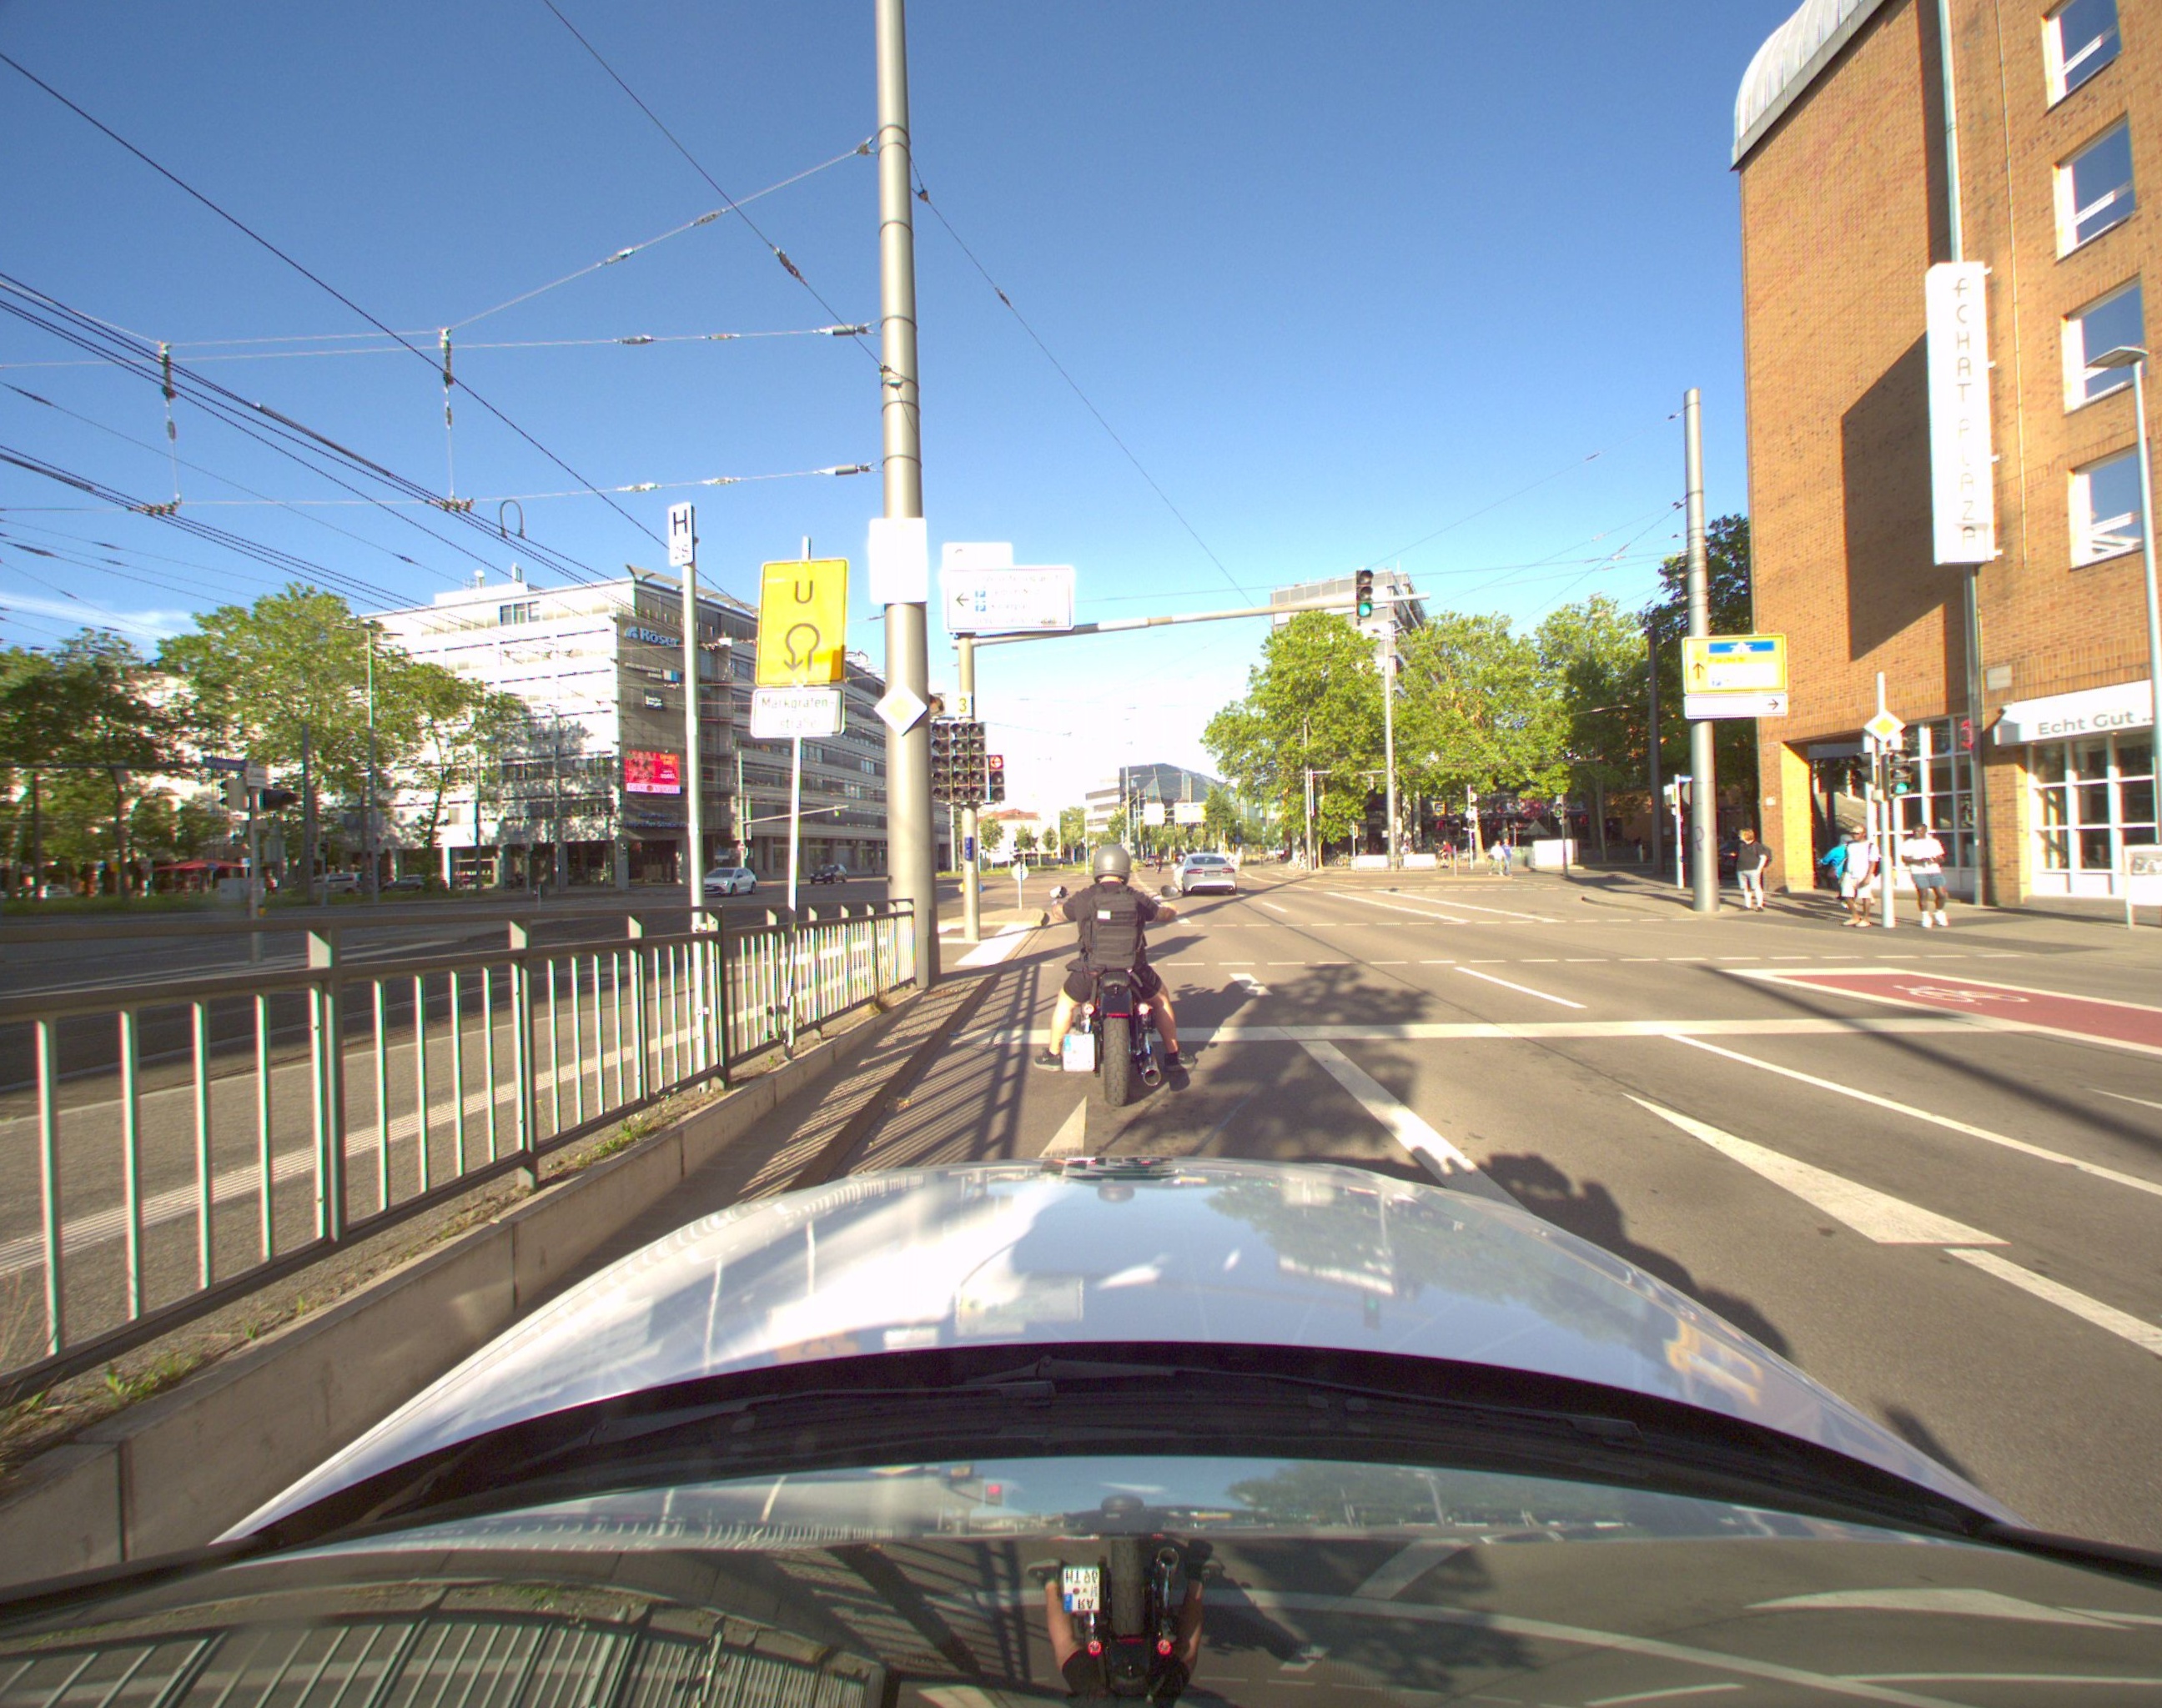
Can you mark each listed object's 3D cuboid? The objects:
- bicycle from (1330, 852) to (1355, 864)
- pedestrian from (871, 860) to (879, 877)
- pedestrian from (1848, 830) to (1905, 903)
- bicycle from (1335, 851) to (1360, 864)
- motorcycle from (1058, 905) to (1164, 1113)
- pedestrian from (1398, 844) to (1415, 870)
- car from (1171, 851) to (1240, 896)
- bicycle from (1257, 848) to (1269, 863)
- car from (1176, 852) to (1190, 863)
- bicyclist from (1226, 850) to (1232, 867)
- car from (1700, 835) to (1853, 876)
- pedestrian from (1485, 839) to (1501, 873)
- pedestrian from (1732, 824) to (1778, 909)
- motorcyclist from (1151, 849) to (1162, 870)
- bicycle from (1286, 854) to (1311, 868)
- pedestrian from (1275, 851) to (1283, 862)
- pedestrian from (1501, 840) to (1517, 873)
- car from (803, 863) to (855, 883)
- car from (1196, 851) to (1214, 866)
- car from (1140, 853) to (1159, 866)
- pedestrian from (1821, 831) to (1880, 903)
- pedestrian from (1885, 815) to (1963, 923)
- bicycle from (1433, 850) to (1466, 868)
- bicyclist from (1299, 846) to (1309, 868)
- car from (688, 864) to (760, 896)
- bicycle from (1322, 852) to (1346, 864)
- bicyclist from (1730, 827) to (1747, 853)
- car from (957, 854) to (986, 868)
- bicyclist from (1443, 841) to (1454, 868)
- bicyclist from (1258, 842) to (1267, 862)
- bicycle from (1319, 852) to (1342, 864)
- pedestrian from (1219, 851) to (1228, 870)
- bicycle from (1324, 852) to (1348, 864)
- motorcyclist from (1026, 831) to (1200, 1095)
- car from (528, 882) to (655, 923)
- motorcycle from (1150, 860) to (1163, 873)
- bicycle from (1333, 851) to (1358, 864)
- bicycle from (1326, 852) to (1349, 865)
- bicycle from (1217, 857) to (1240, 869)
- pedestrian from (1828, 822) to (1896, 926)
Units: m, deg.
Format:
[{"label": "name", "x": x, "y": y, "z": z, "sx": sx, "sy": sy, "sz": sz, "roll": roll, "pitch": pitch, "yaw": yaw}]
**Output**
[{"label": "bicycle", "x": 21.510, "y": 0.330, "z": 66.979, "sx": 1.874, "sy": 1.046, "sz": 0.360, "roll": 0, "pitch": -1, "yaw": 1}, {"label": "pedestrian", "x": -24.095, "y": 1.670, "z": 95.213, "sx": 0.628, "sy": 2.014, "sz": 0.754, "roll": 0, "pitch": -1, "yaw": 2}, {"label": "pedestrian", "x": 16.691, "y": 0.262, "z": 17.099, "sx": 0.590, "sy": 1.476, "sz": 0.552, "roll": -2, "pitch": -1, "yaw": 2}, {"label": "bicycle", "x": 21.365, "y": 0.285, "z": 65.383, "sx": 1.874, "sy": 1.046, "sz": 0.360, "roll": 0, "pitch": -1, "yaw": 1}, {"label": "motorcycle", "x": 0.206, "y": 0.948, "z": 5.730, "sx": 0.598, "sy": 1.036, "sz": 2.235, "roll": 0, "pitch": 0, "yaw": 2}, {"label": "pedestrian", "x": 21.378, "y": 0.206, "z": 53.524, "sx": 0.829, "sy": 1.704, "sz": 0.760, "roll": 0, "pitch": -1, "yaw": 2}, {"label": "car", "x": 4.370, "y": 0.635, "z": 29.105, "sx": 1.797, "sy": 1.430, "sz": 4.453, "roll": -2, "pitch": 0, "yaw": 1}, {"label": "bicycle", "x": 17.140, "y": 0.163, "z": 76.792, "sx": 0.722, "sy": 1.367, "sz": 2.922, "roll": 0, "pitch": -1, "yaw": 6}, {"label": "car", "x": 15.295, "y": 0.536, "z": 121.979, "sx": 1.791, "sy": 1.678, "sz": 4.054, "roll": 0, "pitch": -1, "yaw": 12}, {"label": "bicyclist", "x": 12.163, "y": 0.393, "z": 66.950, "sx": 0.380, "sy": 1.373, "sz": 0.344, "roll": 0, "pitch": -1, "yaw": -7}, {"label": "car", "x": 25.900, "y": 0.073, "z": 30.492, "sx": 3.993, "sy": 1.450, "sz": 1.746, "roll": -1, "pitch": 0, "yaw": 22}, {"label": "pedestrian", "x": 18.888, "y": 0.090, "z": 37.327, "sx": 0.561, "sy": 1.533, "sz": 0.706, "roll": -1, "pitch": -1, "yaw": 22}, {"label": "pedestrian", "x": 14.612, "y": 0.272, "z": 17.657, "sx": 0.727, "sy": 1.792, "sz": 0.515, "roll": -1, "pitch": -1, "yaw": 42}, {"label": "motorcyclist", "x": 5.878, "y": 0.445, "z": 63.178, "sx": 0.793, "sy": 1.580, "sz": 0.529, "roll": 0, "pitch": -1, "yaw": 1}, {"label": "bicycle", "x": 17.341, "y": 0.570, "z": 65.064, "sx": 1.854, "sy": 1.044, "sz": 0.540, "roll": -1, "pitch": -1, "yaw": 20}, {"label": "pedestrian", "x": 21.989, "y": 0.281, "z": 90.399, "sx": 0.814, "sy": 1.314, "sz": 0.640, "roll": -1, "pitch": -1, "yaw": 11}, {"label": "pedestrian", "x": 19.472, "y": 0.111, "z": 37.079, "sx": 0.561, "sy": 1.479, "sz": 0.706, "roll": -1, "pitch": -1, "yaw": 22}, {"label": "car", "x": -18.780, "y": 1.421, "z": 60.863, "sx": 1.812, "sy": 1.430, "sz": 4.256, "roll": -1, "pitch": -1, "yaw": 13}, {"label": "car", "x": 15.646, "y": 0.554, "z": 102.682, "sx": 1.719, "sy": 1.732, "sz": 4.629, "roll": 0, "pitch": 0, "yaw": 14}, {"label": "car", "x": 8.056, "y": 0.618, "z": 95.600, "sx": 1.720, "sy": 1.457, "sz": 4.432, "roll": -1, "pitch": -1, "yaw": 12}, {"label": "pedestrian", "x": 16.110, "y": 0.273, "z": 17.055, "sx": 0.590, "sy": 1.452, "sz": 0.601, "roll": -2, "pitch": -1, "yaw": 2}, {"label": "pedestrian", "x": 14.394, "y": 0.257, "z": 13.925, "sx": 0.588, "sy": 1.780, "sz": 0.684, "roll": -3, "pitch": -1, "yaw": 13}, {"label": "bicycle", "x": 25.395, "y": 0.349, "z": 56.138, "sx": 2.034, "sy": 1.214, "sz": 0.421, "roll": 0, "pitch": -1, "yaw": 2}, {"label": "bicyclist", "x": 17.749, "y": 0.243, "z": 64.924, "sx": 0.682, "sy": 1.673, "sz": 0.544, "roll": -2, "pitch": -2, "yaw": 21}, {"label": "car", "x": -18.386, "y": 1.317, "z": 42.154, "sx": 1.821, "sy": 1.430, "sz": 4.526, "roll": -2, "pitch": 0, "yaw": -2}, {"label": "bicycle", "x": 21.489, "y": 0.351, "z": 69.154, "sx": 1.874, "sy": 1.046, "sz": 0.360, "roll": 0, "pitch": 0, "yaw": 1}, {"label": "bicyclist", "x": 38.739, "y": -0.843, "z": 47.989, "sx": 0.635, "sy": 1.519, "sz": 0.562, "roll": 0, "pitch": -1, "yaw": -26}, {"label": "car", "x": -11.902, "y": 0.741, "z": 88.544, "sx": 1.737, "sy": 1.524, "sz": 4.014, "roll": -1, "pitch": -1, "yaw": 13}, {"label": "bicyclist", "x": 25.346, "y": 0.041, "z": 56.152, "sx": 0.582, "sy": 1.837, "sz": 0.403, "roll": 0, "pitch": -1, "yaw": 1}, {"label": "bicyclist", "x": 17.131, "y": -0.178, "z": 76.866, "sx": 0.693, "sy": 1.808, "sz": 0.730, "roll": 0, "pitch": -1, "yaw": 6}, {"label": "bicycle", "x": 21.528, "y": 0.356, "z": 70.305, "sx": 1.874, "sy": 1.046, "sz": 0.360, "roll": 0, "pitch": 0, "yaw": 1}, {"label": "pedestrian", "x": 11.990, "y": 0.537, "z": 68.624, "sx": 0.587, "sy": 1.557, "sz": 0.488, "roll": 0, "pitch": -1, "yaw": -6}, {"label": "bicycle", "x": 21.494, "y": 0.351, "z": 68.654, "sx": 1.874, "sy": 1.046, "sz": 0.360, "roll": 0, "pitch": 0, "yaw": 1}, {"label": "motorcyclist", "x": 0.207, "y": 0.669, "z": 5.432, "sx": 1.027, "sy": 1.593, "sz": 0.874, "roll": -2, "pitch": 0, "yaw": 1}, {"label": "car", "x": -13.834, "y": 1.355, "z": 23.167, "sx": 2.884, "sy": 1.063, "sz": 1.235, "roll": 0, "pitch": -1, "yaw": -19}, {"label": "motorcycle", "x": 5.891, "y": 0.973, "z": 63.633, "sx": 0.801, "sy": 1.050, "sz": 2.377, "roll": 0, "pitch": -1, "yaw": 2}, {"label": "bicycle", "x": 21.495, "y": 0.306, "z": 66.165, "sx": 1.874, "sy": 1.046, "sz": 0.360, "roll": 0, "pitch": -1, "yaw": 1}, {"label": "bicycle", "x": 21.473, "y": 0.357, "z": 68.168, "sx": 1.874, "sy": 1.046, "sz": 0.360, "roll": 0, "pitch": -1, "yaw": 1}, {"label": "bicycle", "x": 12.137, "y": 0.753, "z": 66.942, "sx": 1.823, "sy": 0.925, "sz": 0.357, "roll": 0, "pitch": -1, "yaw": -7}, {"label": "pedestrian", "x": 13.915, "y": 0.343, "z": 14.533, "sx": 0.587, "sy": 1.780, "sz": 0.686, "roll": -5, "pitch": 0, "yaw": 26}]
